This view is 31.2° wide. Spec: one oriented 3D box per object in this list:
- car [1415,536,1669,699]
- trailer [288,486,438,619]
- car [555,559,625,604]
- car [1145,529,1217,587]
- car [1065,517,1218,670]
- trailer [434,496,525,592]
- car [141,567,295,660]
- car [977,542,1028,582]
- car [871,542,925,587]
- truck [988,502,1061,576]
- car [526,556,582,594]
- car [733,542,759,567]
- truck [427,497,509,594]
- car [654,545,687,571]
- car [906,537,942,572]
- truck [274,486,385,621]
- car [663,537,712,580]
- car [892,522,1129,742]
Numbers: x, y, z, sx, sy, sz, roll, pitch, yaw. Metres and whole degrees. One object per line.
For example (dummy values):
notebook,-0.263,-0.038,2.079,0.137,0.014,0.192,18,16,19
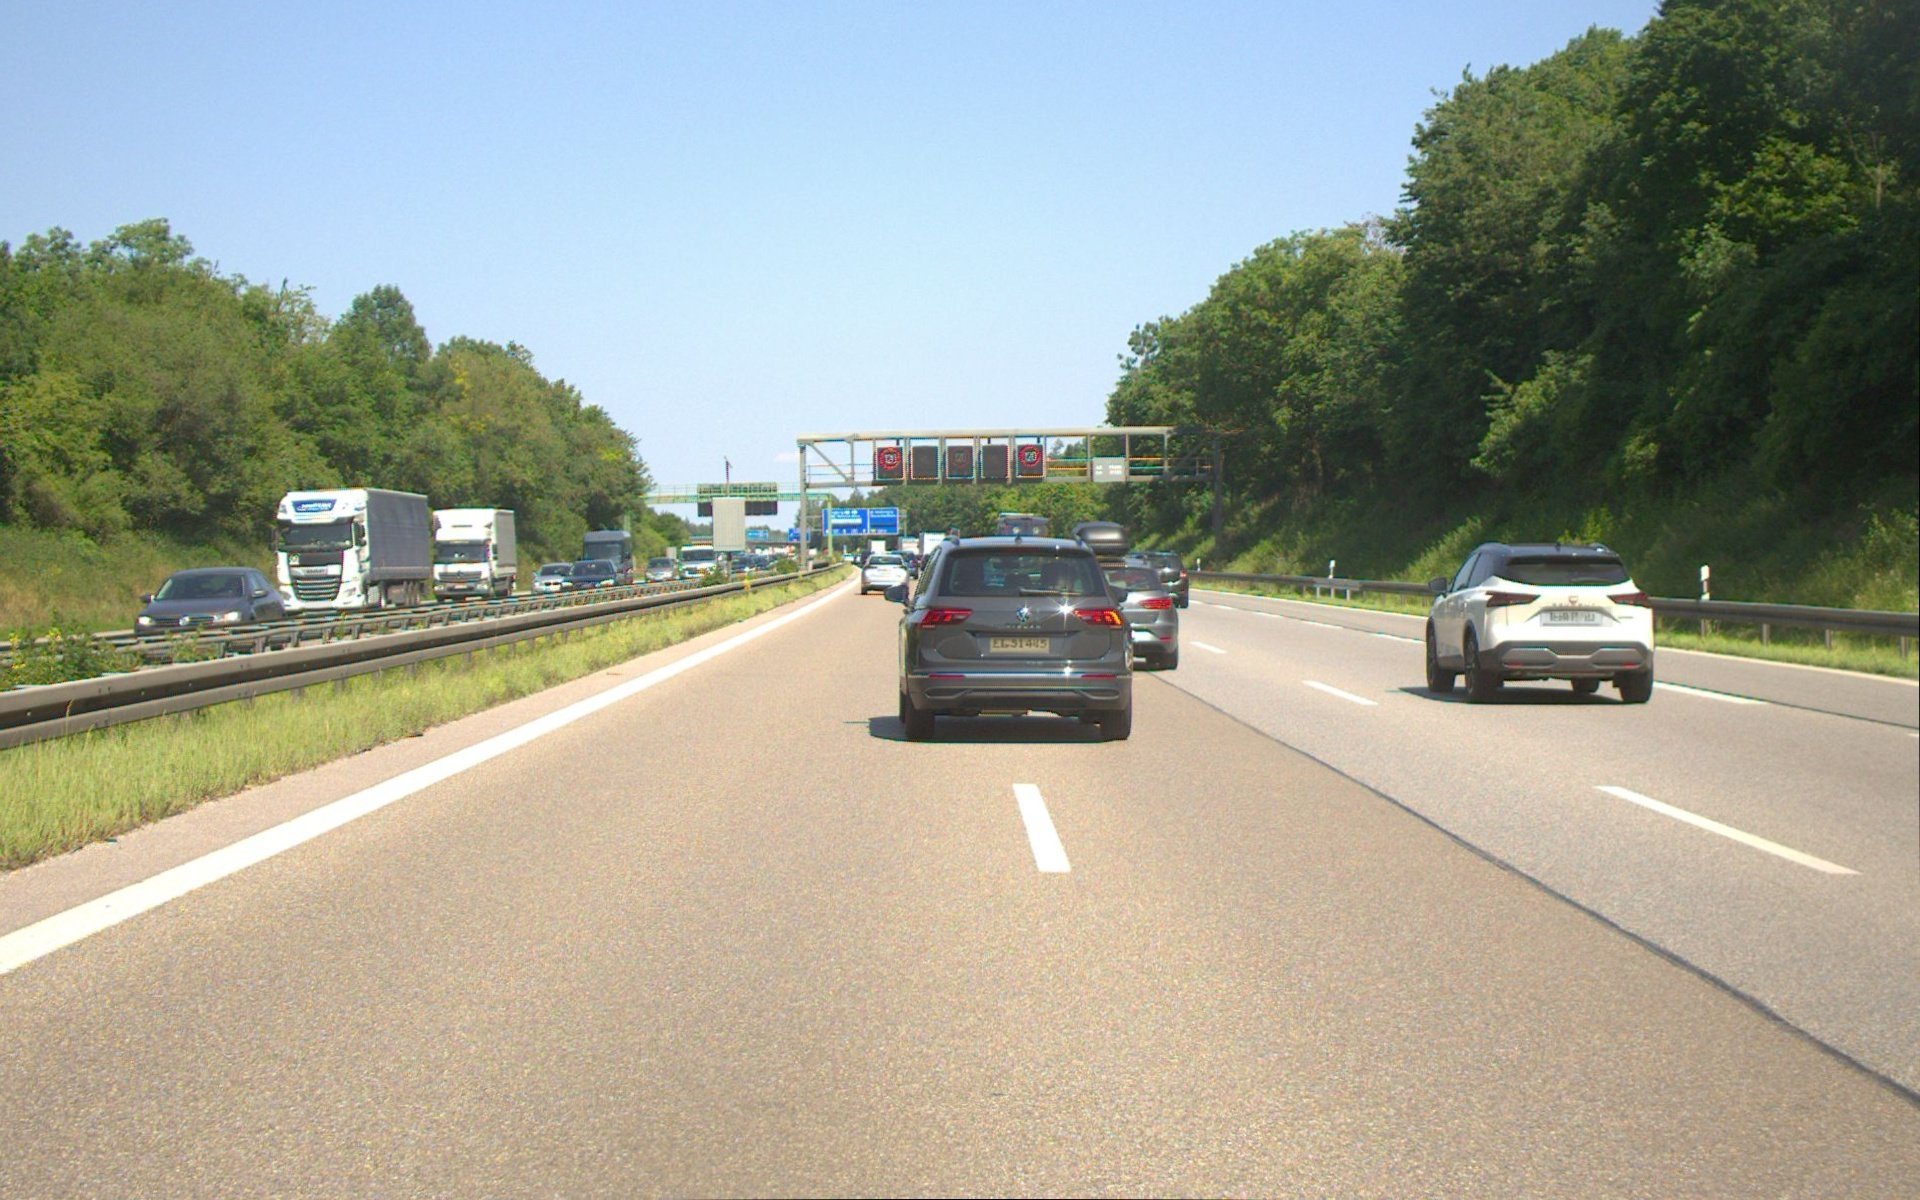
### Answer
car,5.966,0.139,35.701,1.843,1.563,4.036,1,1,-1
trailer,-19.850,-1.606,115.176,2.614,4.044,14.170,-3,1,-1
car,-12.112,-0.632,112.736,1.807,1.401,4.819,-1,1,-1
car,6.193,-1.180,96.740,1.765,1.563,4.258,1,1,1
car,2.327,-0.124,45.179,1.665,1.870,4.827,-1,1,-1
trailer,-20.201,-2.357,144.956,2.712,3.796,7.693,-2,1,-1
car,-11.566,0.181,53.849,1.485,1.351,4.418,-1,1,-1
car,1.515,-1.371,123.412,1.765,1.377,4.258,1,1,1
car,-2.204,-1.277,123.538,1.765,1.563,4.258,1,1,1
truck,3.898,-3.691,211.614,3.780,4.407,14.052,0,1,-2
car,-15.888,-1.005,134.742,1.713,1.413,4.504,-1,1,-1
car,-13.369,-2.827,214.658,1.433,1.523,3.458,-1,1,-1
truck,-20.105,-2.235,140.645,2.703,3.796,4.000,-2,1,-1
car,-16.834,-2.430,200.132,1.675,1.490,3.545,-1,1,-1
car,-2.073,-2.633,198.751,1.993,2.007,4.000,1,1,-1
truck,-19.771,-1.470,107.945,2.614,4.044,4.000,-3,1,-1
car,-13.147,-2.009,166.331,1.928,1.974,5.235,-3,1,-1
car,0.417,0.212,28.606,1.799,1.663,4.258,1,1,1
